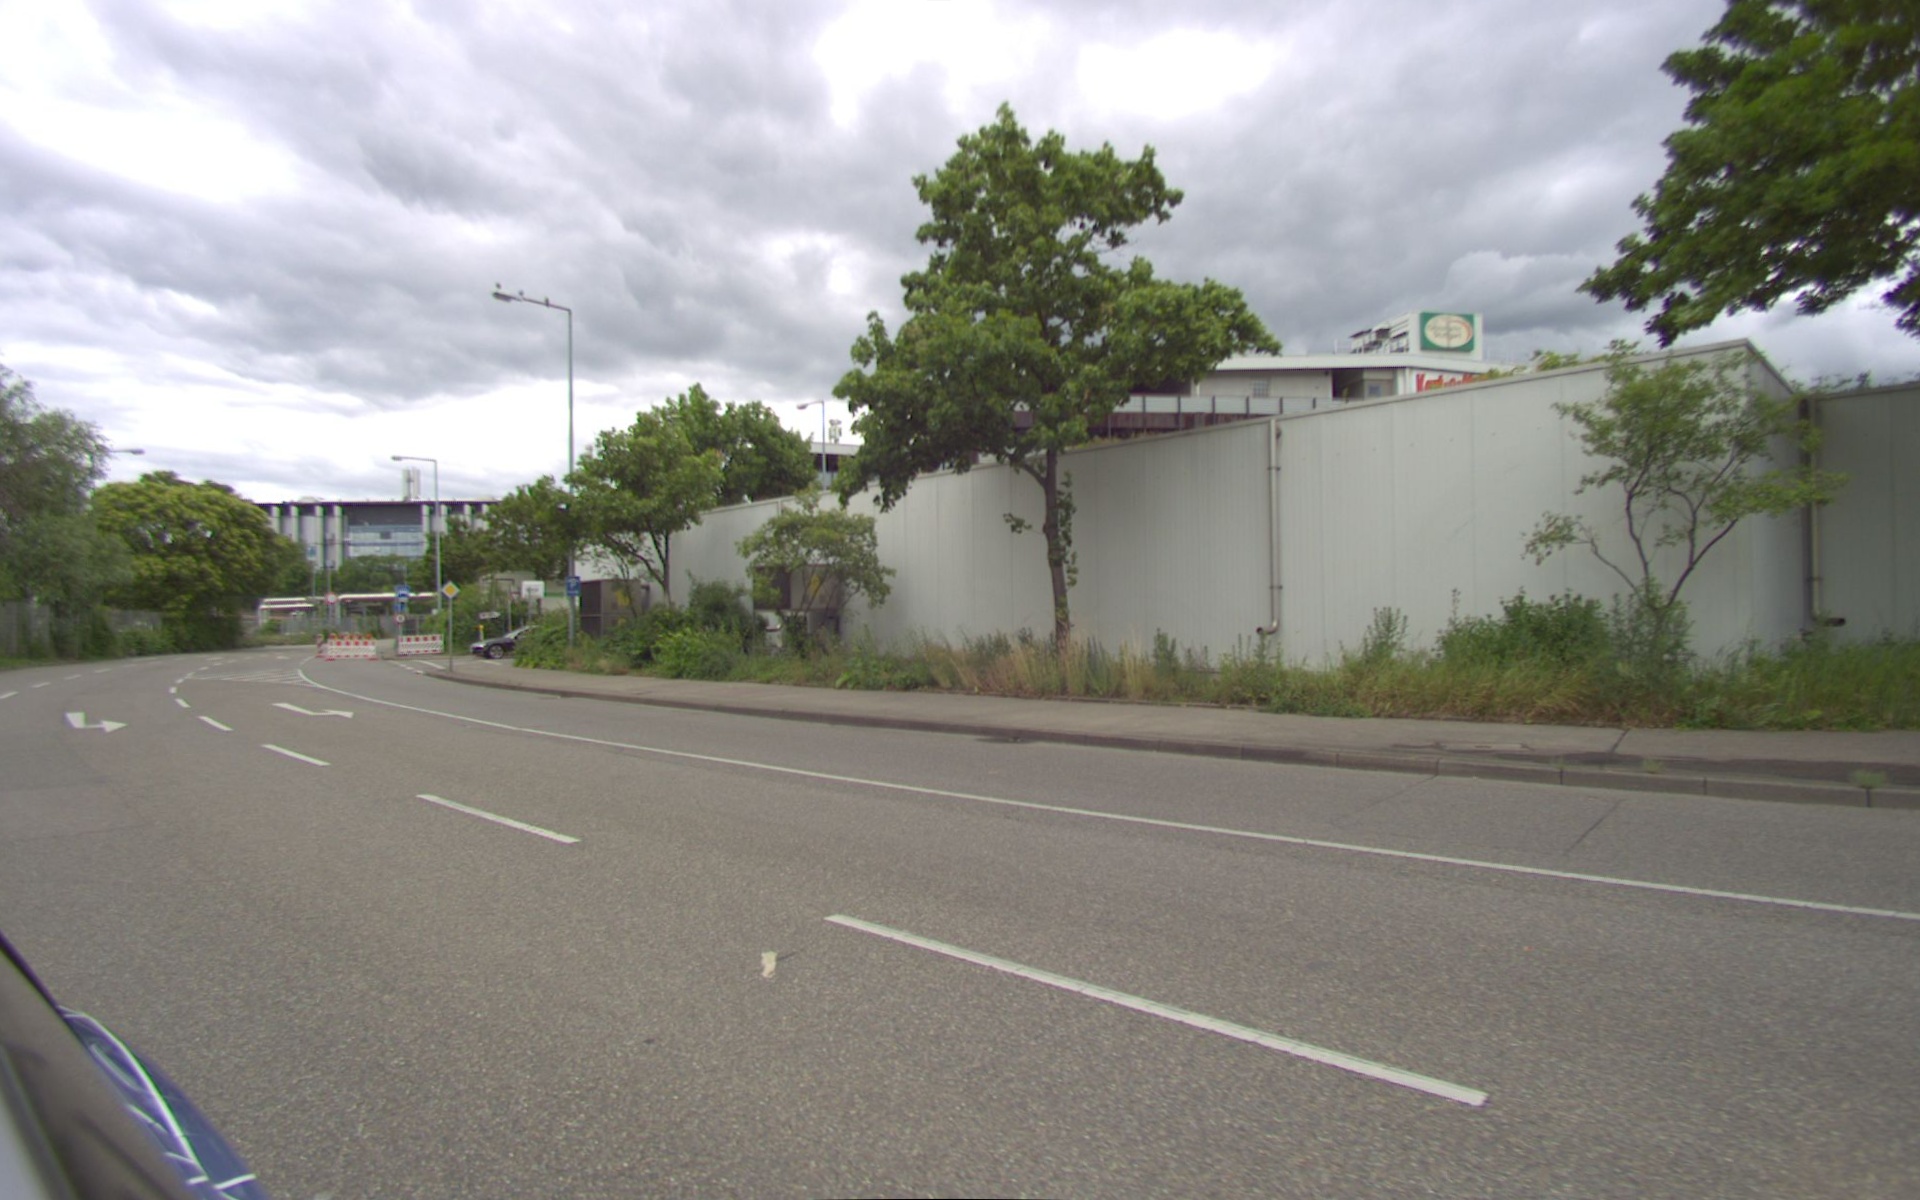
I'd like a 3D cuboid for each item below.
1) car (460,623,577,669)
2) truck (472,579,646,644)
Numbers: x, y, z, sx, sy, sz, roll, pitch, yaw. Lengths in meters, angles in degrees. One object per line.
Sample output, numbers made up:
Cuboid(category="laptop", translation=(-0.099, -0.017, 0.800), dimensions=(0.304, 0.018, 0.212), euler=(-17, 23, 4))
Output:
Cuboid(category="car", translation=(-20.364, 2.094, 46.728), dimensions=(4.549, 1.823, 2.004), euler=(-2, 0, -39))
Cuboid(category="truck", translation=(-23.574, 0.655, 59.874), dimensions=(9.129, 3.623, 2.938), euler=(0, -1, -38))
